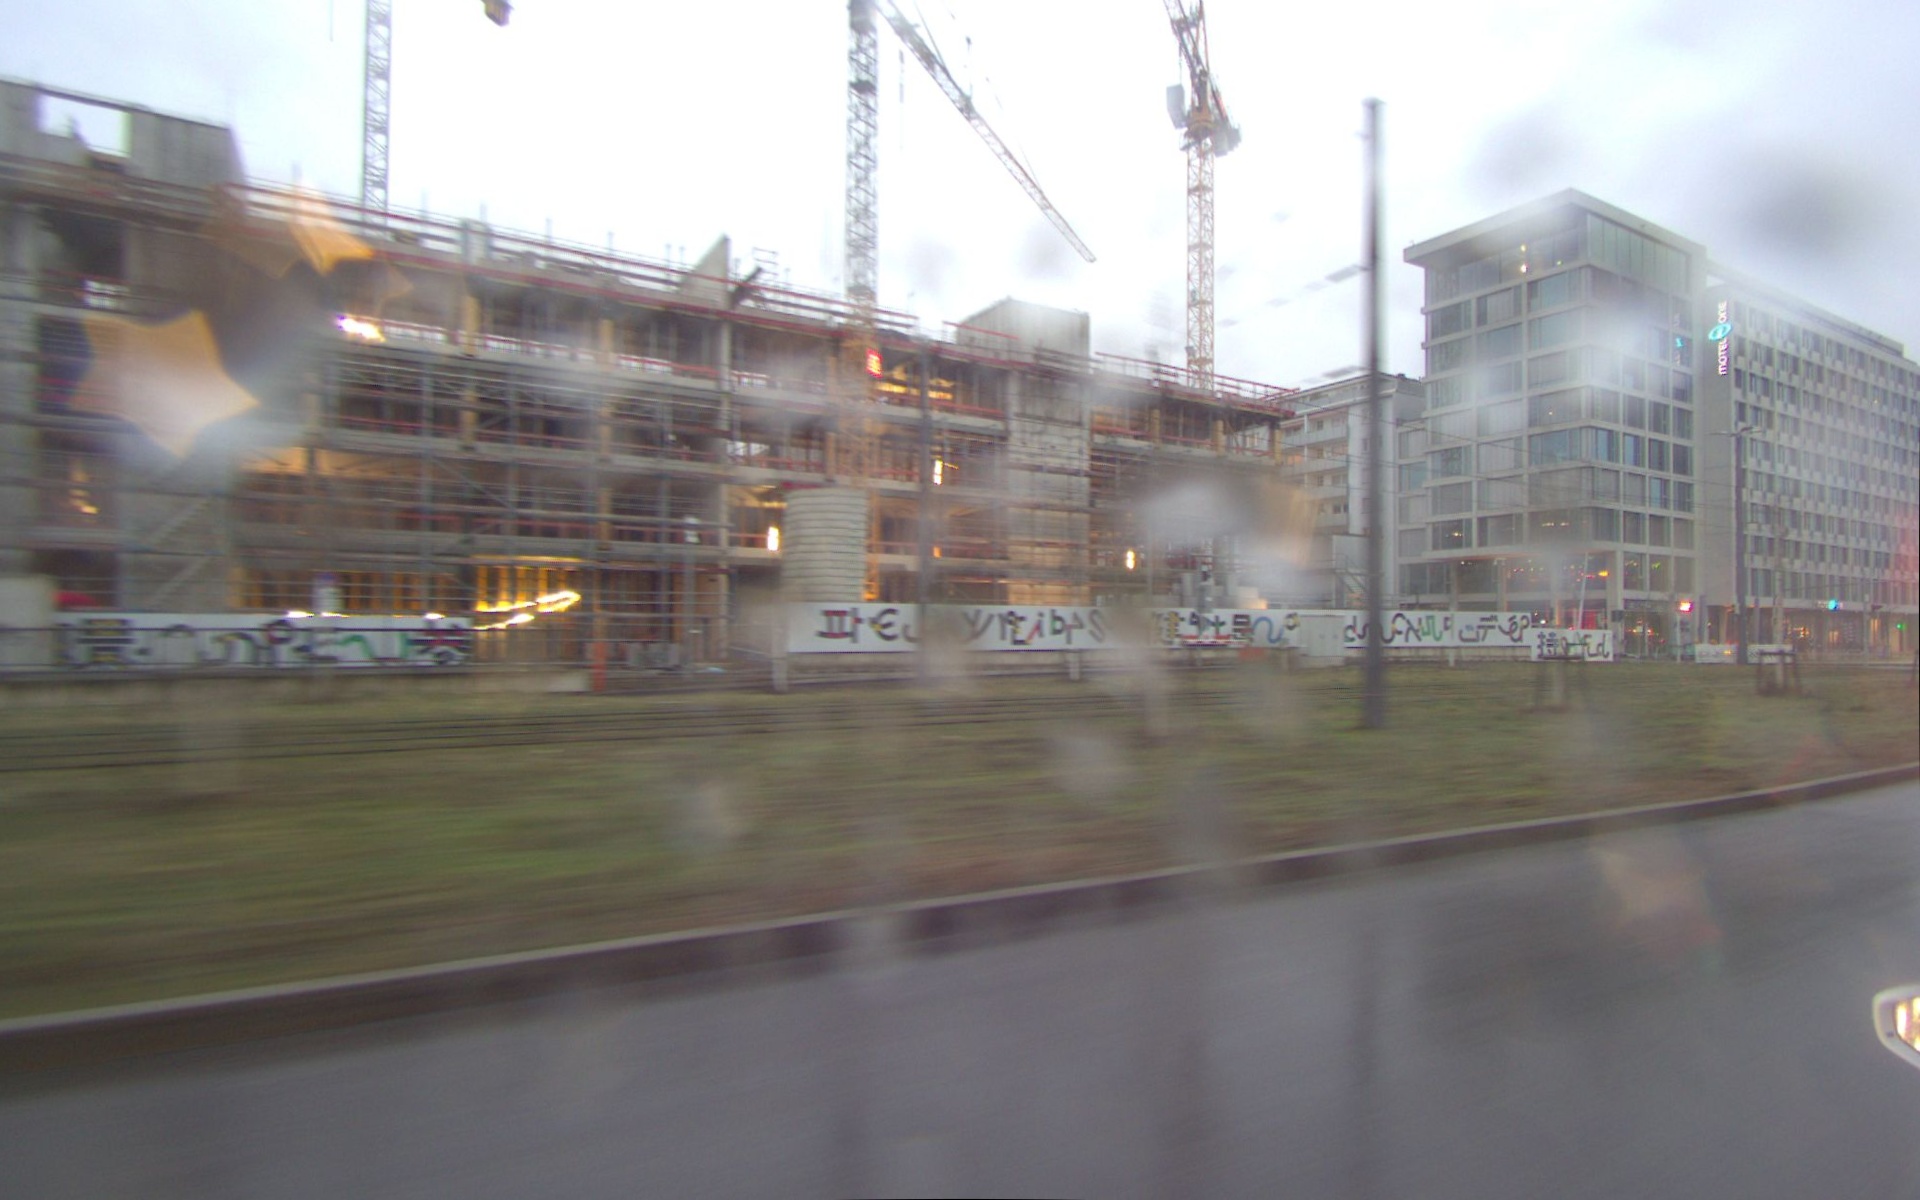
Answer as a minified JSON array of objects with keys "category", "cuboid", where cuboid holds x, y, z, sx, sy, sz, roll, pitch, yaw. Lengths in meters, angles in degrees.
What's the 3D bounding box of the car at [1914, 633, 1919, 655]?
[{"category":"car","cuboid":[64.202,2.923,65.405,1.710,1.512,3.543,1,0,19]}]
